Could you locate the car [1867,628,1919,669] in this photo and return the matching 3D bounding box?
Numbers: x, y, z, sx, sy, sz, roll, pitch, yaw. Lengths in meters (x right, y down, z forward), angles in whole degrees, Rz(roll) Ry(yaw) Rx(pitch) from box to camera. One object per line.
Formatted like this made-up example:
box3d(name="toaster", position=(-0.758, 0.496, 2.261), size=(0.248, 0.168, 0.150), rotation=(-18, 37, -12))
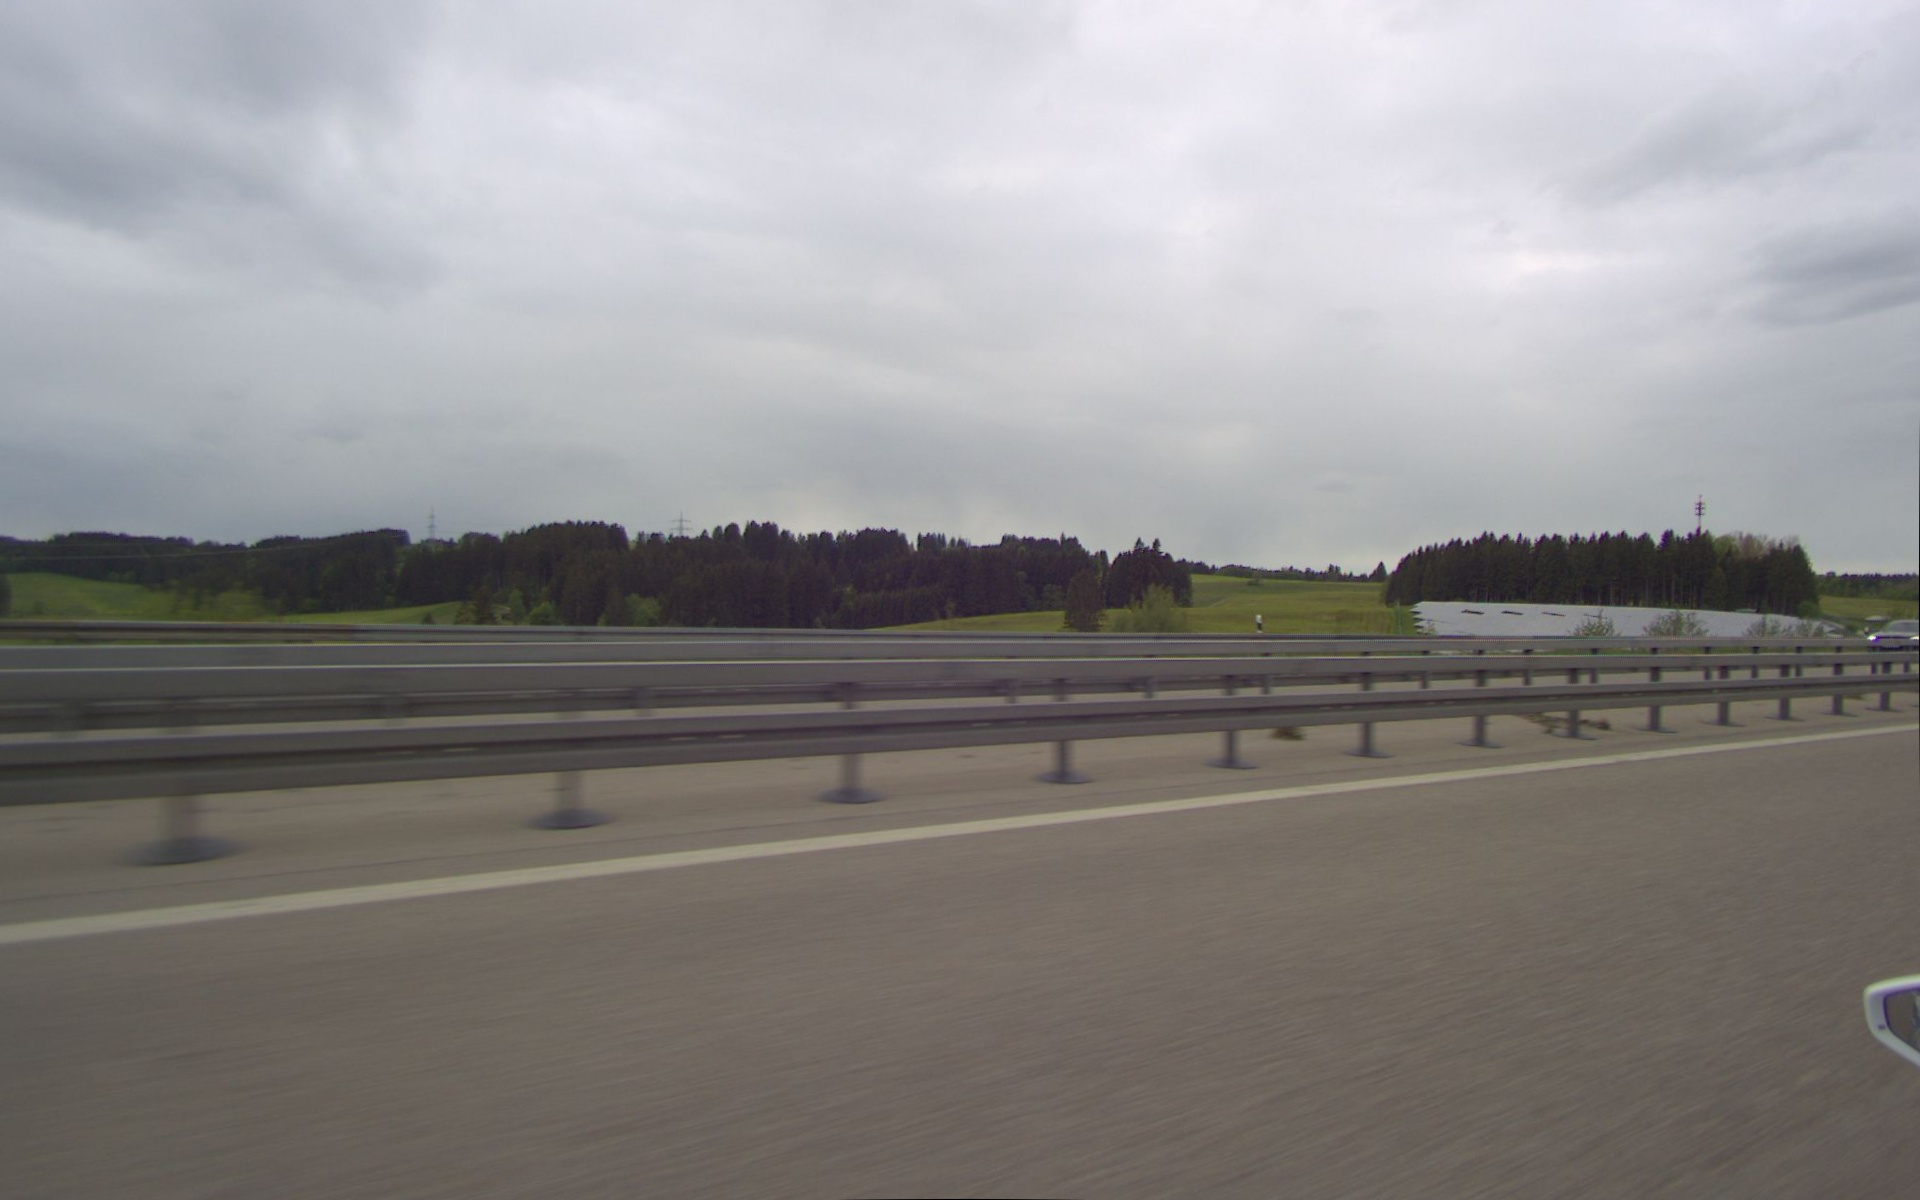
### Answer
box3d(name="car", position=(41.893, 2.125, 43.943), size=(4.793, 1.638, 1.983), rotation=(2, -1, -32))
